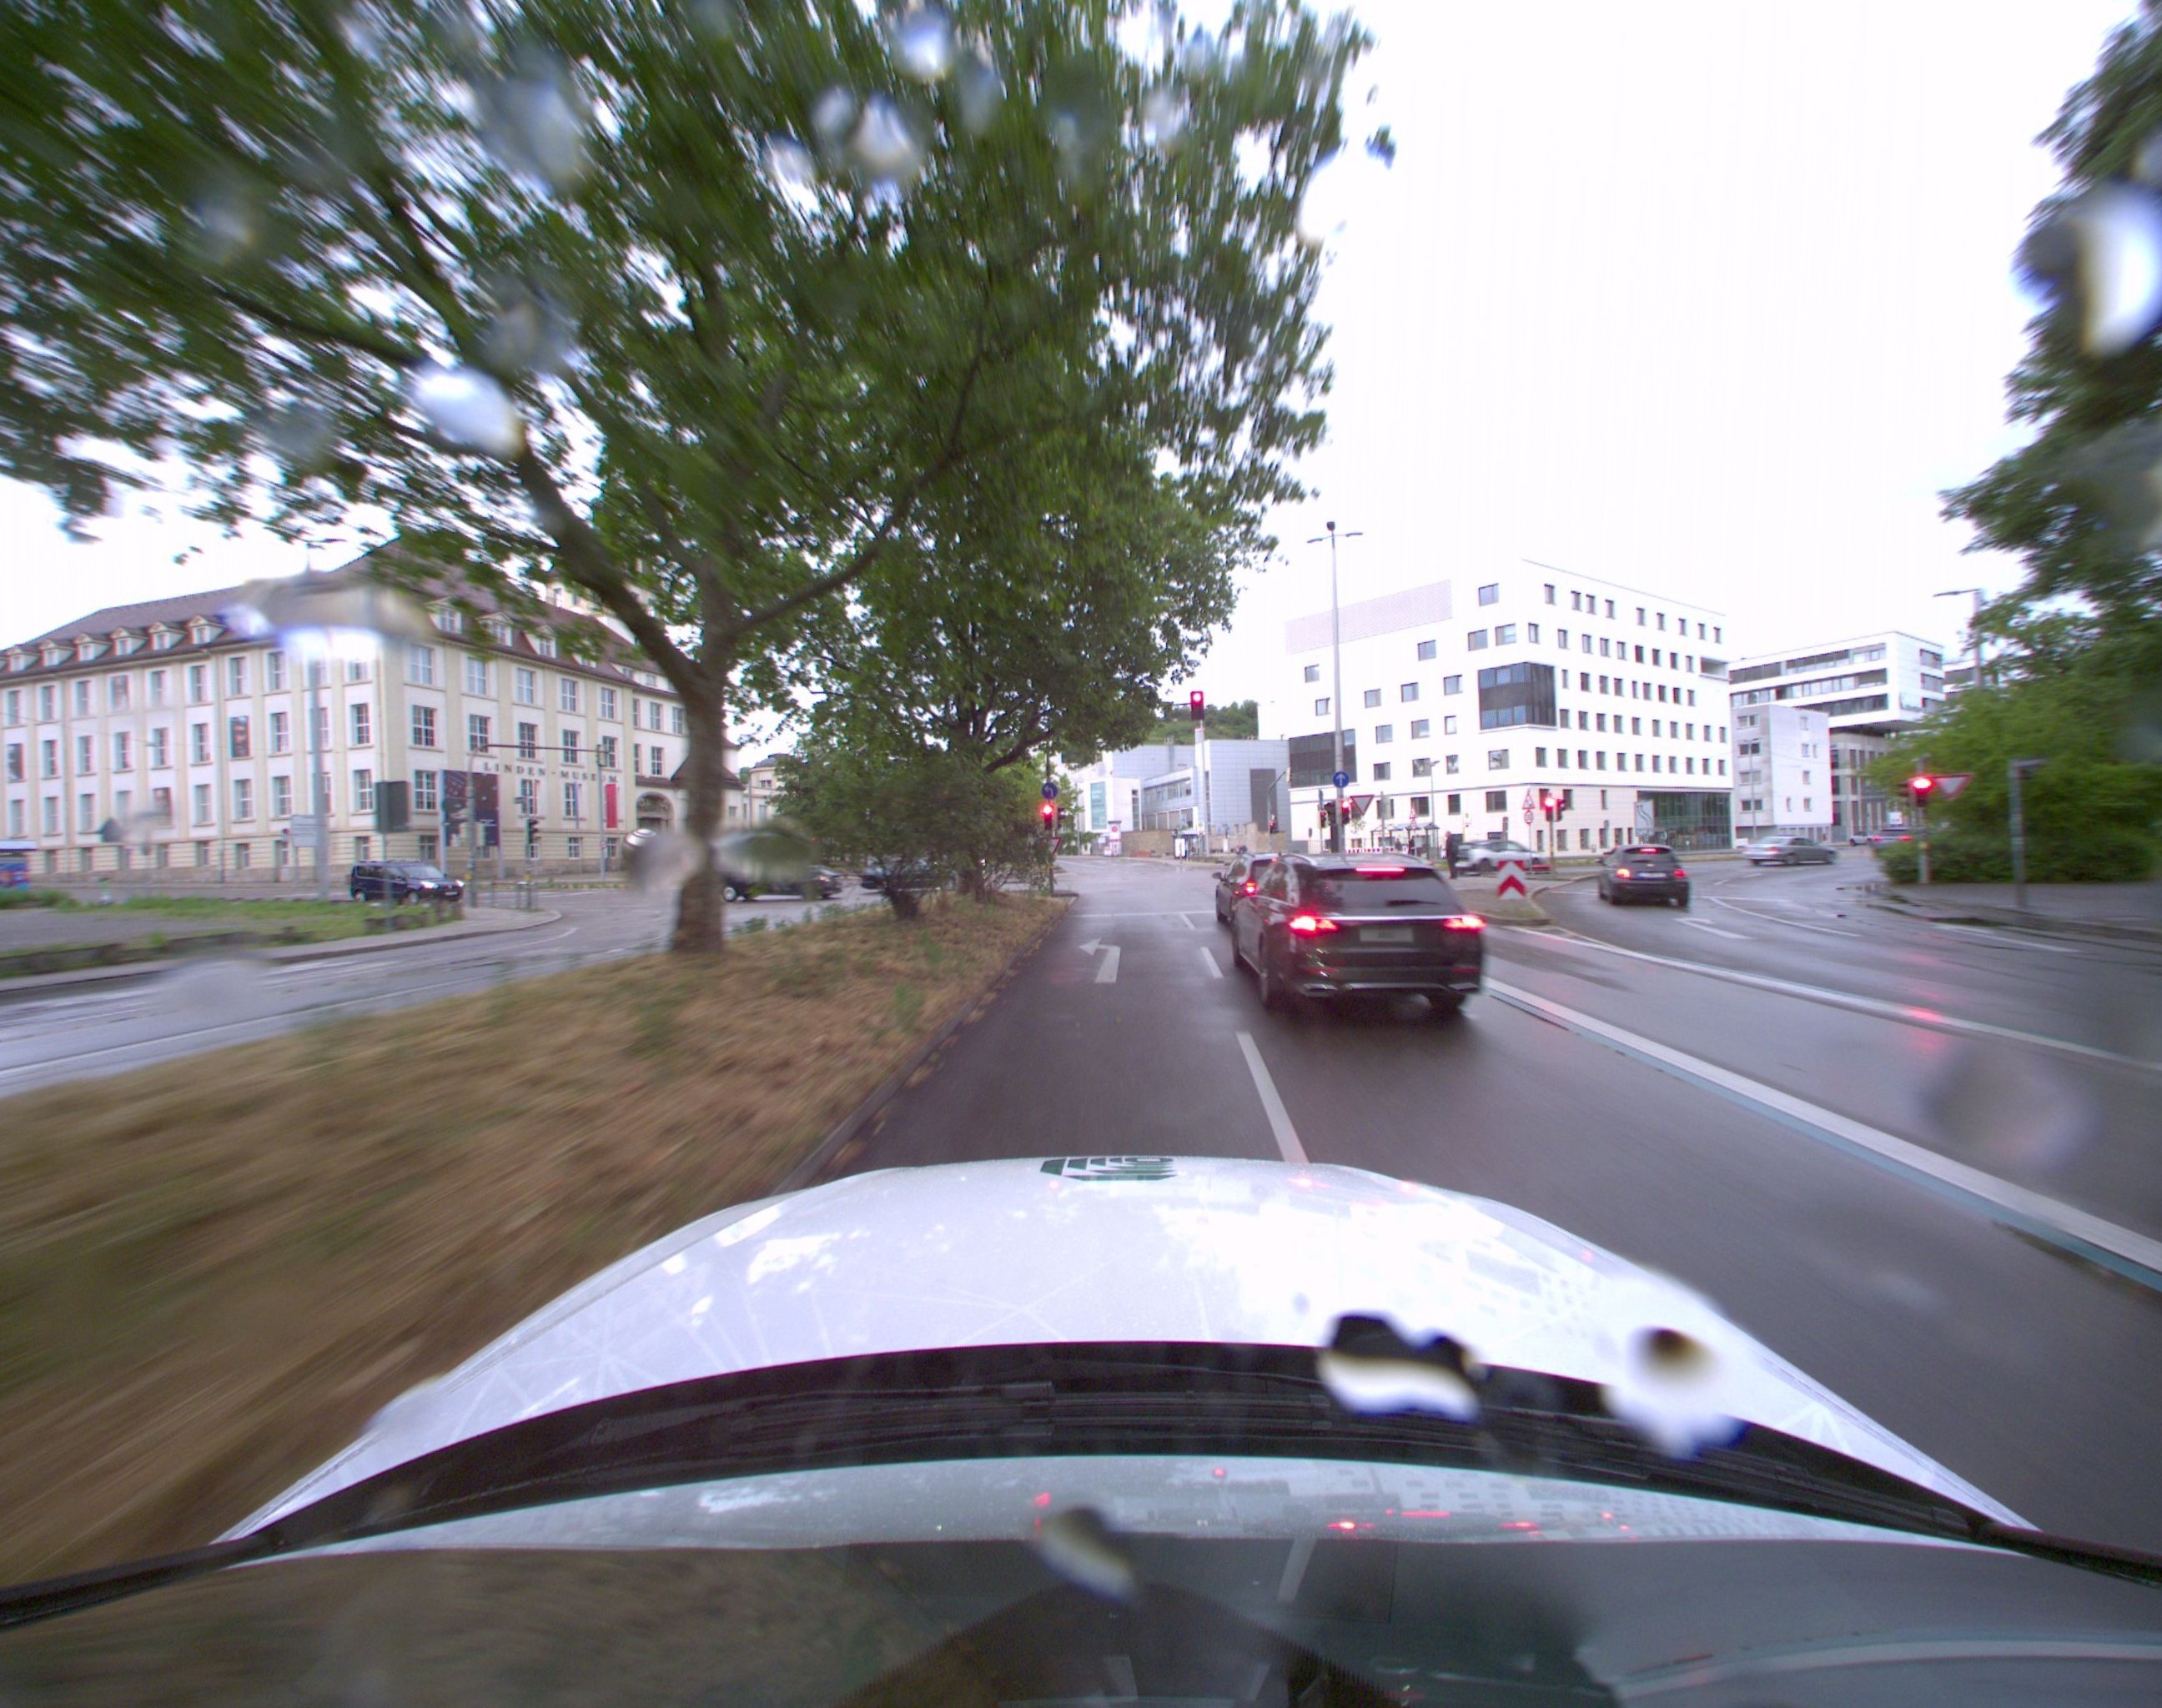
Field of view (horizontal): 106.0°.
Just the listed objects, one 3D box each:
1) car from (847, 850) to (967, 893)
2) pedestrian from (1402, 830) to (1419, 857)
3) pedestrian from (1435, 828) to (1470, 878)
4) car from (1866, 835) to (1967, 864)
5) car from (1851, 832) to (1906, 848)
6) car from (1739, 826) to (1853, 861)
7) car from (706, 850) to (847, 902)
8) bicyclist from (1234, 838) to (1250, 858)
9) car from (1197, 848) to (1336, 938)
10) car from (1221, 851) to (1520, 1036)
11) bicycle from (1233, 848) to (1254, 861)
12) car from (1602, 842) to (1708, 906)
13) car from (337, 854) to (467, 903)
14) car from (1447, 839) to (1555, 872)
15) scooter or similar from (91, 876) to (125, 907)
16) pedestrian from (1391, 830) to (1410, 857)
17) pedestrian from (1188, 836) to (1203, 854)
[{"bbox_3d":[-7.684,0.755,36.333,4.945,1.673,1.997,-2,0,-5],"label":"car"},{"bbox_3d":[23.971,-0.744,59.264,0.995,1.935,0.957,-1,-1,13],"label":"pedestrian"},{"bbox_3d":[14.365,-0.026,31.526,0.826,1.892,1.025,0,-1,-5],"label":"pedestrian"},{"bbox_3d":[48.454,-0.248,47.263,4.765,1.651,1.860,0,-1,-13],"label":"car"},{"bbox_3d":[79.204,-1.389,80.916,1.948,1.557,4.075,0,0,10],"label":"car"},{"bbox_3d":[35.362,-0.480,40.290,4.767,1.651,1.859,0,-1,-14],"label":"car"},{"bbox_3d":[-12.047,0.860,32.374,4.749,1.809,2.003,-2,0,5],"label":"car"},{"bbox_3d":[13.525,-0.487,68.413,1.132,1.632,0.695,0,-1,-32],"label":"bicyclist"},{"bbox_3d":[3.513,0.651,16.242,1.665,1.466,4.511,-2,1,-1],"label":"car"},{"bbox_3d":[2.711,0.702,8.932,1.871,1.445,4.936,-1,0,4],"label":"car"},{"bbox_3d":[13.687,0.018,68.495,1.828,1.056,0.641,-1,-1,-33],"label":"bicycle"},{"bbox_3d":[14.513,0.467,20.799,1.844,1.450,4.025,-1,0,30],"label":"car"},{"bbox_3d":[-28.400,1.012,34.129,4.268,1.908,1.803,-2,1,10],"label":"car"},{"bbox_3d":[18.792,0.057,36.526,3.986,1.421,1.862,0,-1,-10],"label":"car"},{"bbox_3d":[-37.308,1.423,31.240,0.555,1.167,1.239,0,-1,-37],"label":"scooter or similar"},{"bbox_3d":[22.387,-0.727,57.141,0.950,1.840,0.821,0,-1,-8],"label":"pedestrian"},{"bbox_3d":[10.881,-0.870,77.520,1.252,1.719,1.017,0,-1,2],"label":"pedestrian"}]
